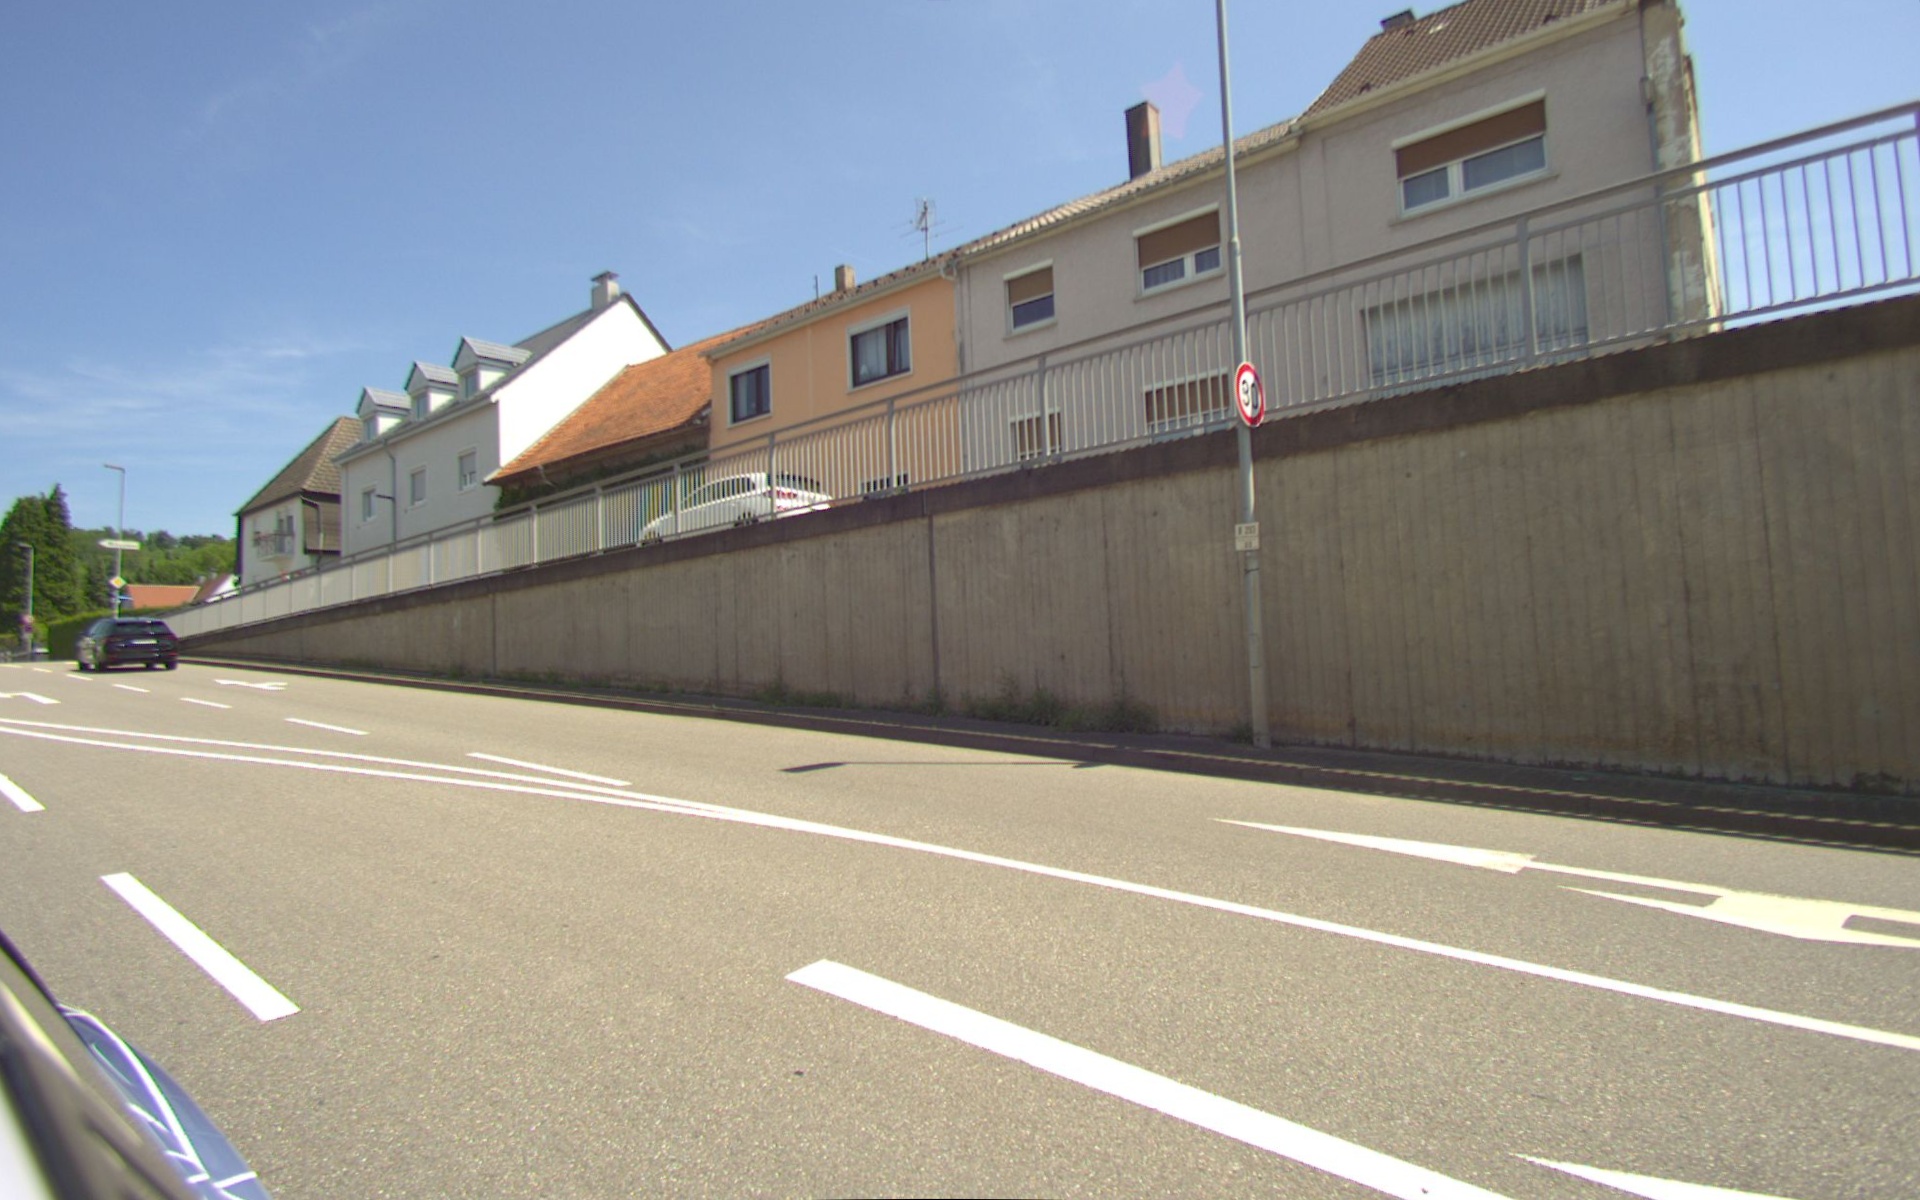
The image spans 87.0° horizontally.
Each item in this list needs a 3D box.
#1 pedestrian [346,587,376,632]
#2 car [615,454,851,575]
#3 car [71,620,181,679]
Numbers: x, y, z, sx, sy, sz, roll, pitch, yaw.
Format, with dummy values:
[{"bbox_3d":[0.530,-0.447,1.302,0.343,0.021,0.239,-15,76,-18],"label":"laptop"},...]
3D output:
[{"bbox_3d":[-23.403,0.371,39.548,0.855,1.742,0.720,-2,-2,37],"label":"pedestrian"},{"bbox_3d":[-4.137,-1.406,18.109,4.304,1.473,1.795,-6,-4,39],"label":"car"},{"bbox_3d":[-23.449,1.340,28.406,4.367,1.500,1.742,-2,-1,42],"label":"car"}]
